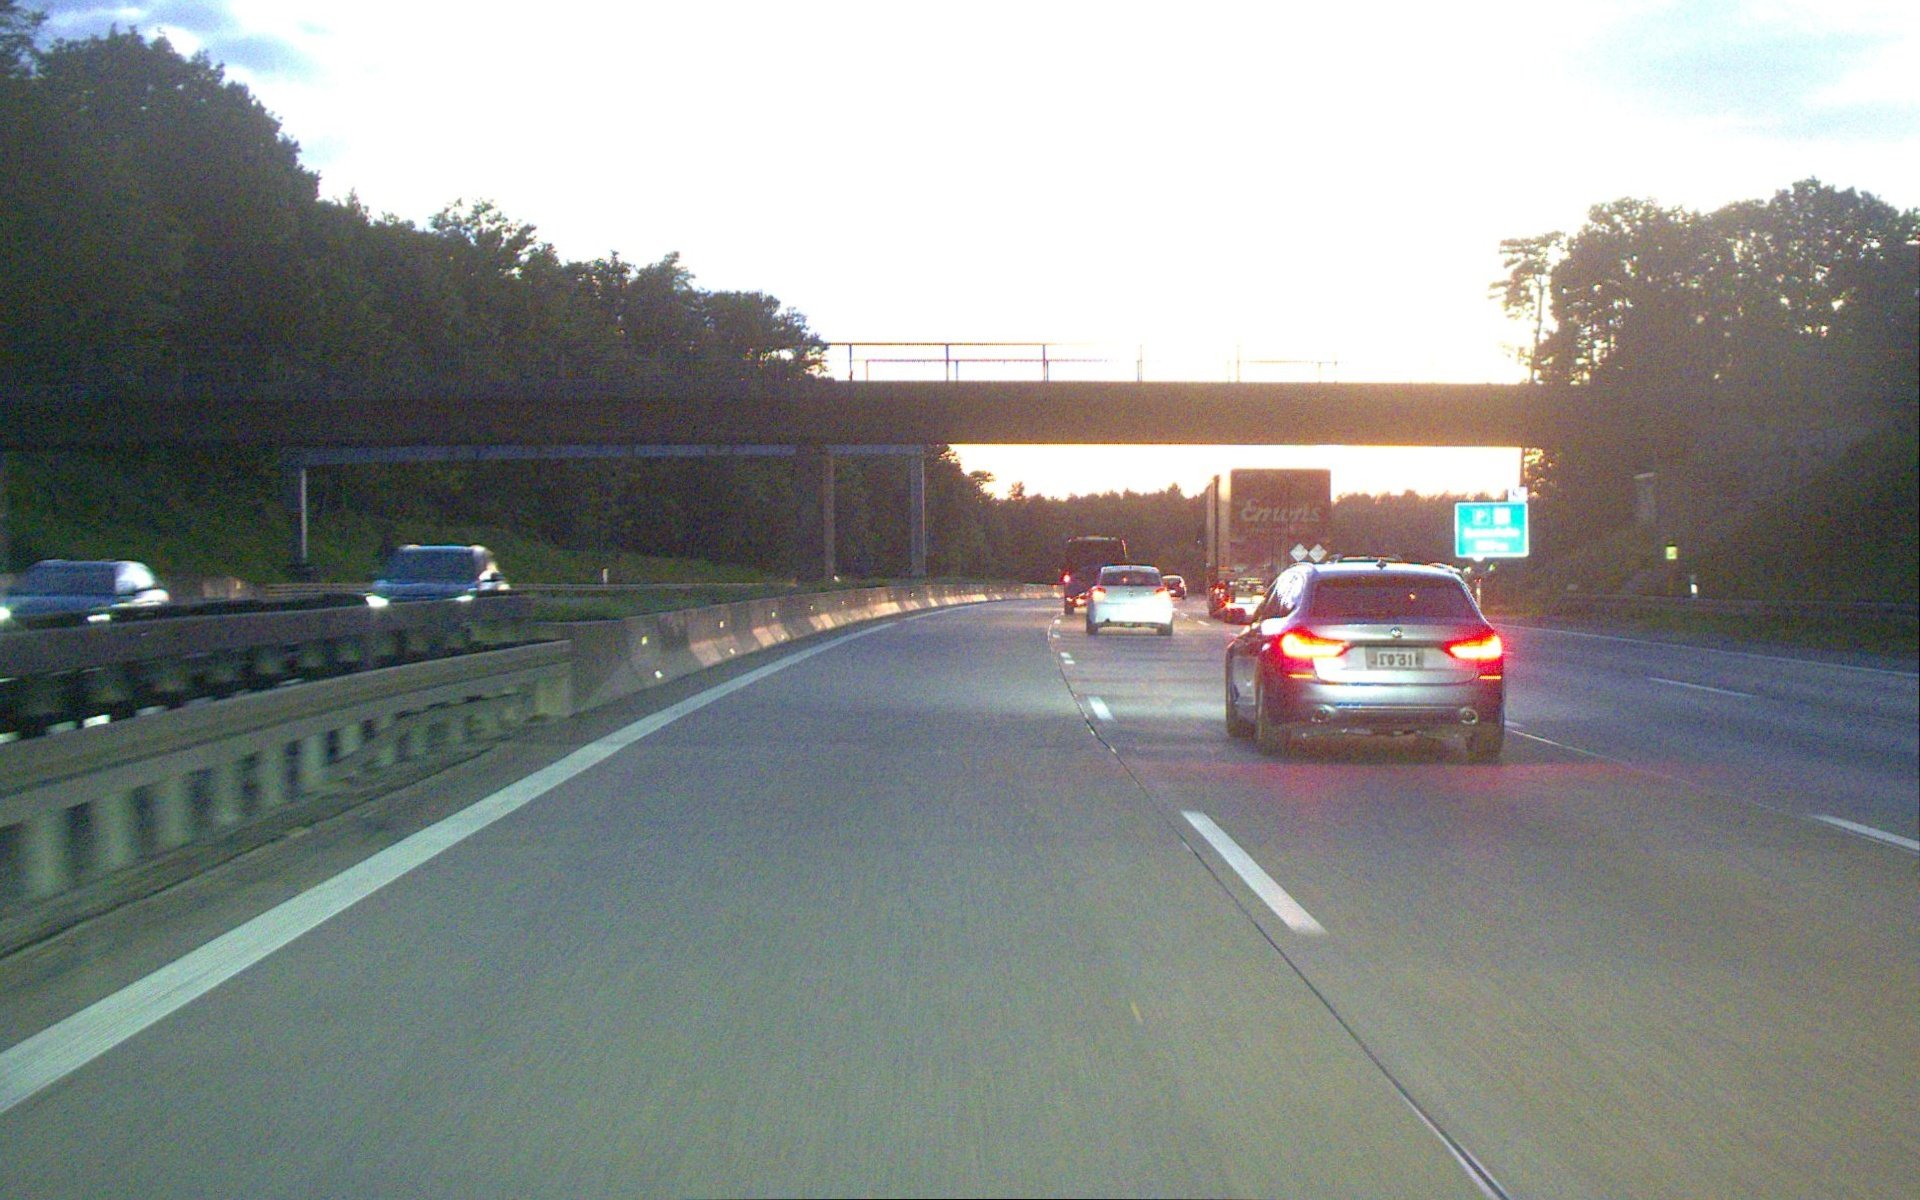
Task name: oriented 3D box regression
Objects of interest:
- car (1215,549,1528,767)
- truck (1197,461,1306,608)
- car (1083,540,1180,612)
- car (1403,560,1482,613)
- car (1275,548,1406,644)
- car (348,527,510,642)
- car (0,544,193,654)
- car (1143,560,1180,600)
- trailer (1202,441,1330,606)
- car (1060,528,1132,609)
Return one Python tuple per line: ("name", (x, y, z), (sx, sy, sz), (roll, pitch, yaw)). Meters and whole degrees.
("car", (3.200, 0.383, 27.741), (1.909, 1.532, 5.232), (0, 1, 0))
("truck", (8.587, -1.837, 102.423), (2.885, 4.087, 10.830), (1, 0, 3))
("car", (3.565, -0.518, 71.924), (1.859, 1.437, 3.720), (0, 1, 0))
("car", (13.278, -0.363, 94.801), (1.859, 1.437, 4.111), (0, 0, 4))
("car", (6.703, -0.086, 61.019), (1.903, 1.638, 5.052), (0, 0, 2))
("car", (-8.775, -0.297, 57.190), (1.993, 1.791, 4.831), (0, 1, 0))
("car", (-12.296, -0.052, 48.686), (1.875, 1.438, 4.451), (0, 1, 0))
("car", (12.733, -1.249, 217.483), (2.166, 2.411, 5.563), (0, -1, 2))
("trailer", (8.077, -1.925, 91.883), (2.907, 4.087, 10.356), (1, 0, 2))
("car", (4.245, -0.956, 106.904), (2.166, 2.411, 5.563), (0, -1, 3))
